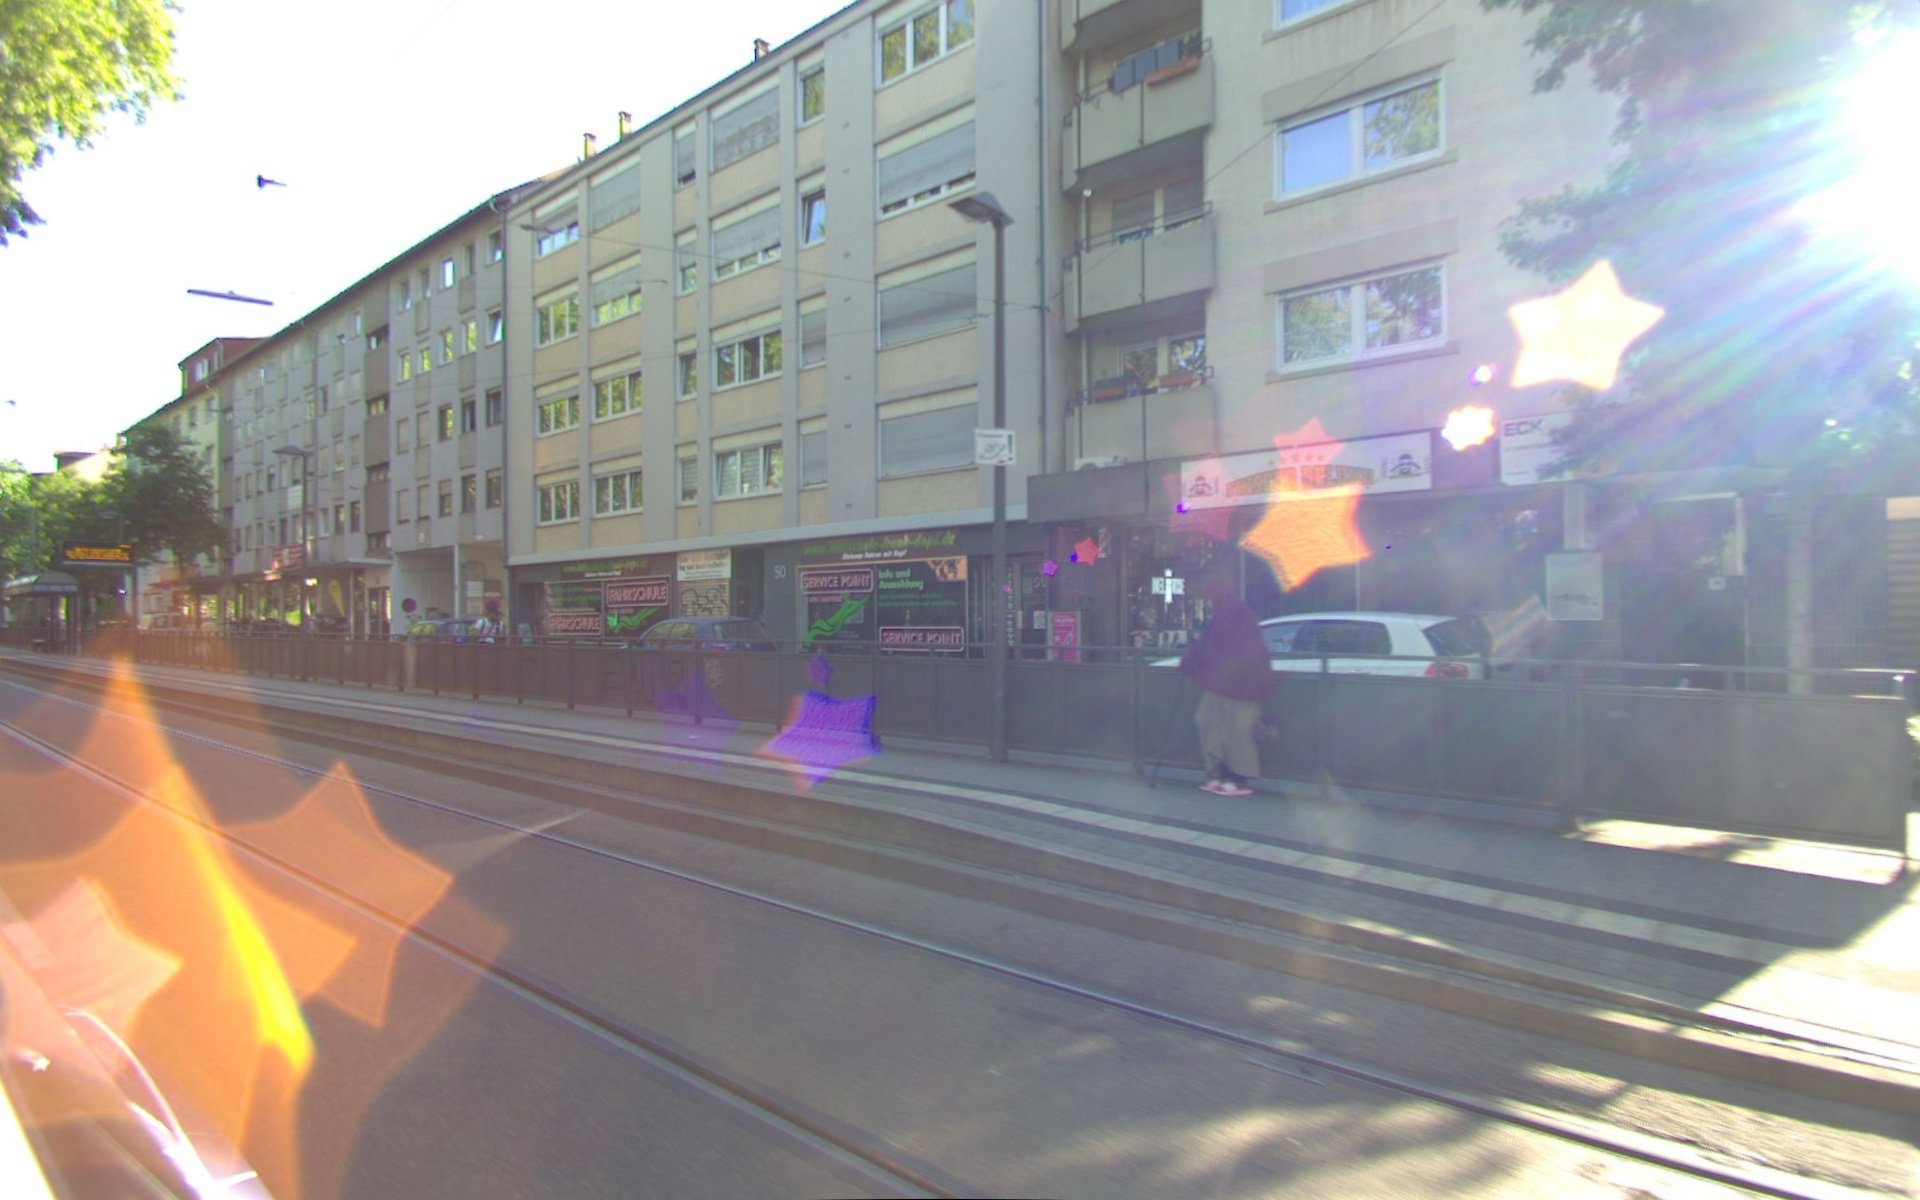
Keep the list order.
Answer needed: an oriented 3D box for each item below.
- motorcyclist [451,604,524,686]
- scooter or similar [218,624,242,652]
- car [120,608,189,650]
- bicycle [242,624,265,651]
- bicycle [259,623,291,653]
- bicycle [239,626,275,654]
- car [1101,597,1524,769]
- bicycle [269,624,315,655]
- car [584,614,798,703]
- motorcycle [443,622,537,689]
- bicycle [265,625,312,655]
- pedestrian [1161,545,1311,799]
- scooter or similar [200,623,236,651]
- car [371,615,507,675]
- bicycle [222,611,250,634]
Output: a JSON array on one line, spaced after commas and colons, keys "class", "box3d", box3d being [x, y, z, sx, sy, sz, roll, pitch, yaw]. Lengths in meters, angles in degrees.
[{"class": "motorcyclist", "box3d": [-8.672, 0.813, 18.559, 1.015, 1.451, 0.864, -1, -2, 40]}, {"class": "scooter or similar", "box3d": [-31.281, 1.616, 43.377, 1.272, 1.183, 0.440, -1, -2, 36]}, {"class": "car", "box3d": [-39.068, 1.392, 49.072, 4.045, 1.949, 1.785, -1, -2, 39]}, {"class": "bicycle", "box3d": [-31.074, 1.626, 44.483, 1.688, 1.165, 0.506, -2, -2, 44]}, {"class": "bicycle", "box3d": [-27.963, 1.544, 41.309, 1.748, 1.165, 0.488, -1, -2, 35]}, {"class": "bicycle", "box3d": [-29.510, 1.664, 42.462, 2.033, 1.165, 0.565, -1, -2, 35]}, {"class": "car", "box3d": [4.017, 0.865, 11.948, 4.354, 1.664, 1.859, -1, -2, 40]}, {"class": "bicycle", "box3d": [-26.333, 1.551, 39.901, 2.019, 1.165, 0.556, -1, -2, 25]}, {"class": "car", "box3d": [-5.335, 1.085, 19.817, 4.386, 1.556, 1.936, -1, -2, 41]}, {"class": "motorcycle", "box3d": [-8.623, 0.985, 18.529, 1.913, 1.173, 0.840, -1, -2, 40]}, {"class": "bicycle", "box3d": [-26.210, 1.552, 39.474, 2.019, 1.165, 0.556, -1, -2, 25]}, {"class": "pedestrian", "box3d": [1.871, 0.458, 6.870, 0.772, 1.597, 0.647, -1, -1, 41]}, {"class": "scooter or similar", "box3d": [-32.365, 1.605, 44.136, 1.258, 1.183, 0.445, 0, -1, 4]}, {"class": "car", "box3d": [-13.973, 1.161, 27.043, 4.279, 1.475, 1.776, -1, -2, 41]}, {"class": "bicycle", "box3d": [-37.718, 1.160, 52.720, 2.033, 1.165, 0.565, -1, -2, 35]}]
